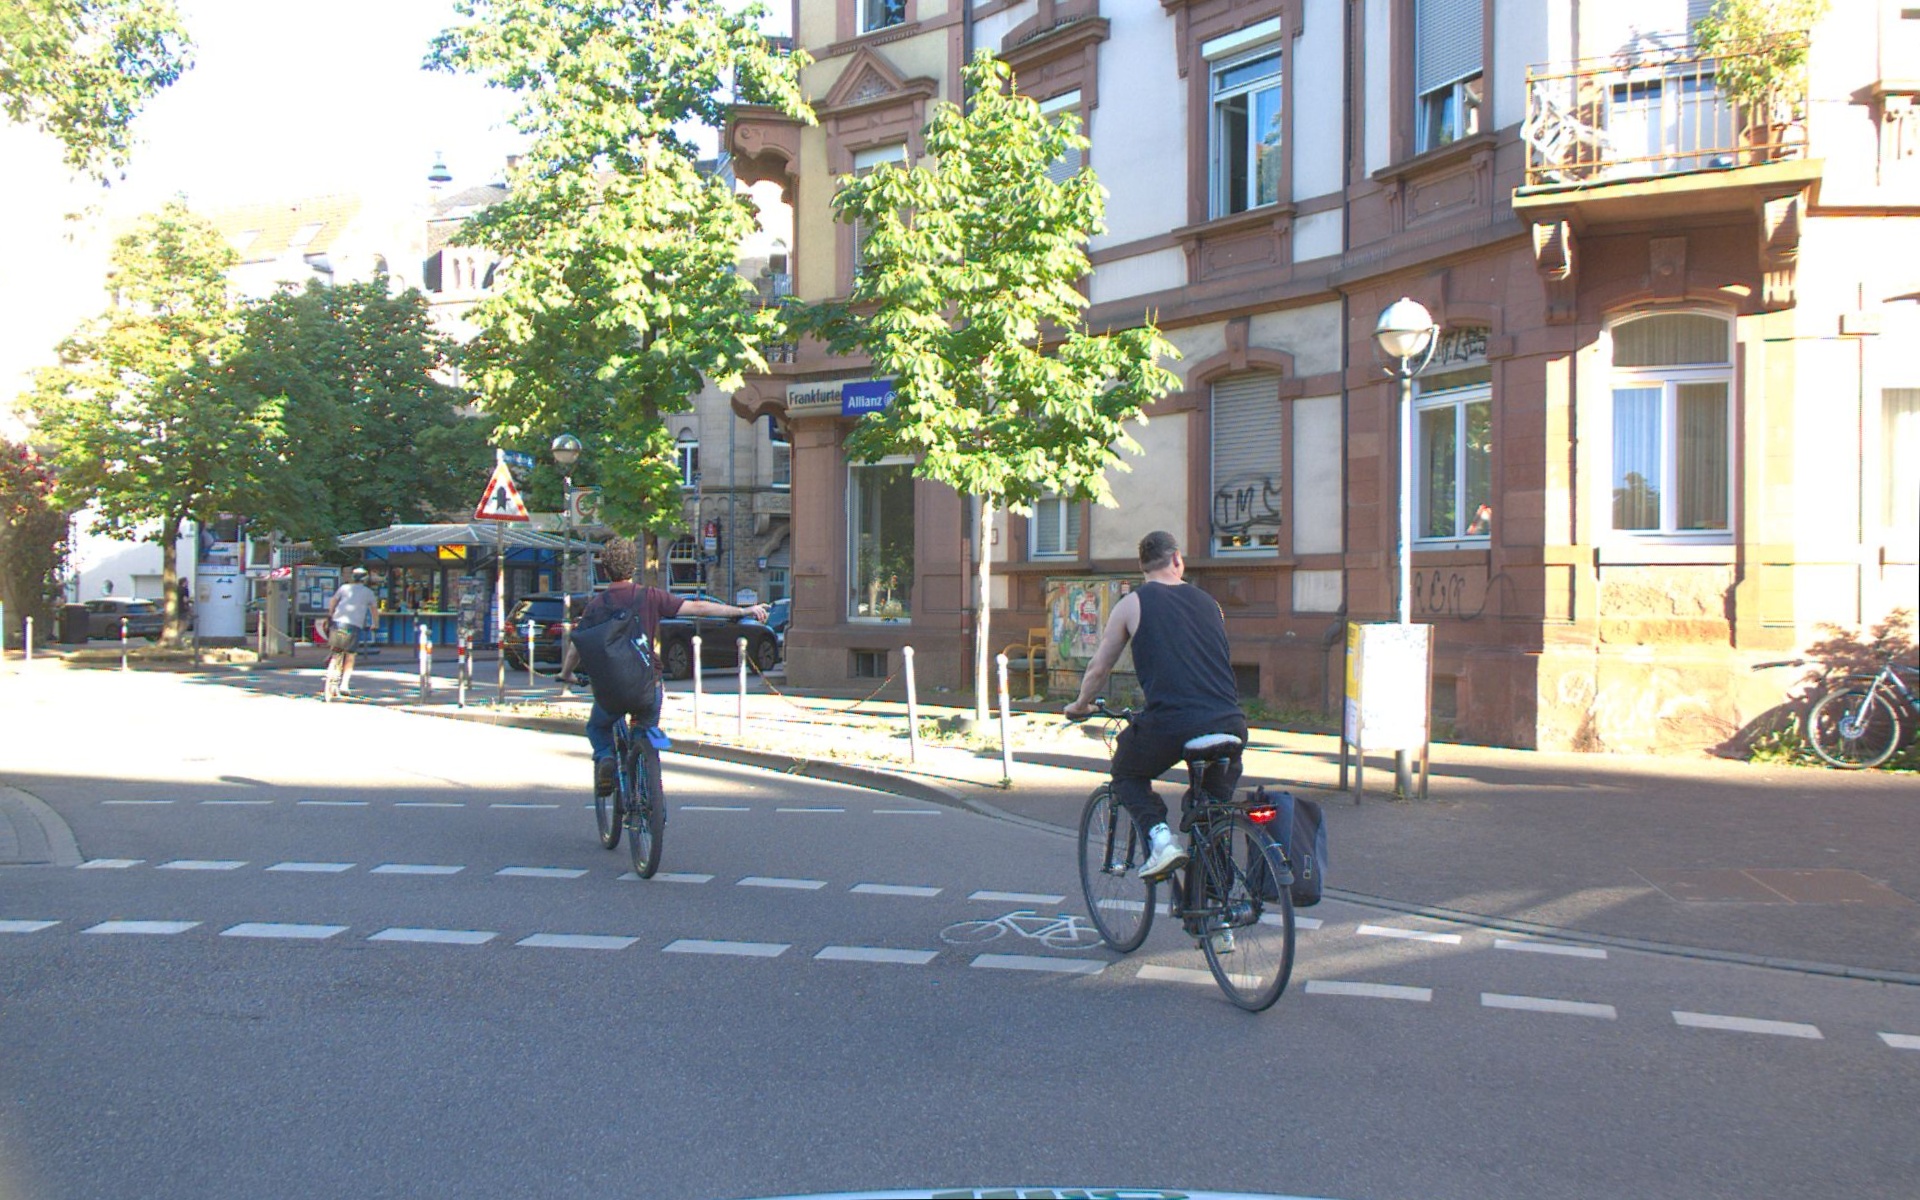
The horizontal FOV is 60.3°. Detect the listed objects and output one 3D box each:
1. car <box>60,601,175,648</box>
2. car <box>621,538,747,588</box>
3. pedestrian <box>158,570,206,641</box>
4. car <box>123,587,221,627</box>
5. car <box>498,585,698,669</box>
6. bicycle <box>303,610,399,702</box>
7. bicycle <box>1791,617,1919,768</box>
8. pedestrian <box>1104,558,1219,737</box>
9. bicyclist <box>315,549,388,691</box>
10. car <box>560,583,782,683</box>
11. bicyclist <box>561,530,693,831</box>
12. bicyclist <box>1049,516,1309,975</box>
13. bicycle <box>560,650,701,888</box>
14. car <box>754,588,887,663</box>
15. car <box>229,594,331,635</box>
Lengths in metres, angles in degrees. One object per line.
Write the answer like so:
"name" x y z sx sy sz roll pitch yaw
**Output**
"car" -28.497 0.811 55.959 3.491 1.525 1.670 0 -1 26
"car" -9.533 -1.246 57.107 3.907 1.676 1.878 0 0 24
"pedestrian" -19.980 0.135 42.491 0.863 1.780 0.716 0 0 22
"car" -31.094 0.292 65.260 3.491 1.525 1.670 0 -1 27
"car" -7.172 0.502 33.082 1.757 1.569 3.850 0 0 31
"bicycle" -8.538 0.755 23.279 0.794 1.205 2.223 0 0 -7
"bicycle" 7.606 0.733 12.918 1.927 1.126 0.441 2 1 35
"pedestrian" 1.947 0.434 16.080 0.716 1.663 0.895 -1 2 -31
"bicyclist" -8.555 0.278 23.280 0.780 1.947 0.943 1 0 -10
"car" -5.089 0.536 29.721 1.756 1.639 4.366 0 0 25
"bicyclist" -1.888 0.425 9.340 0.694 1.601 0.954 0 0 -13
"bicyclist" 0.851 0.540 6.658 0.675 1.685 0.984 0 -1 -17
"bicycle" -1.899 0.887 9.389 0.705 1.126 1.960 0 0 -13
"car" -2.855 0.491 34.454 1.470 1.483 3.207 0 0 22
"car" -26.056 0.564 63.392 3.490 1.525 1.671 0 -1 24
